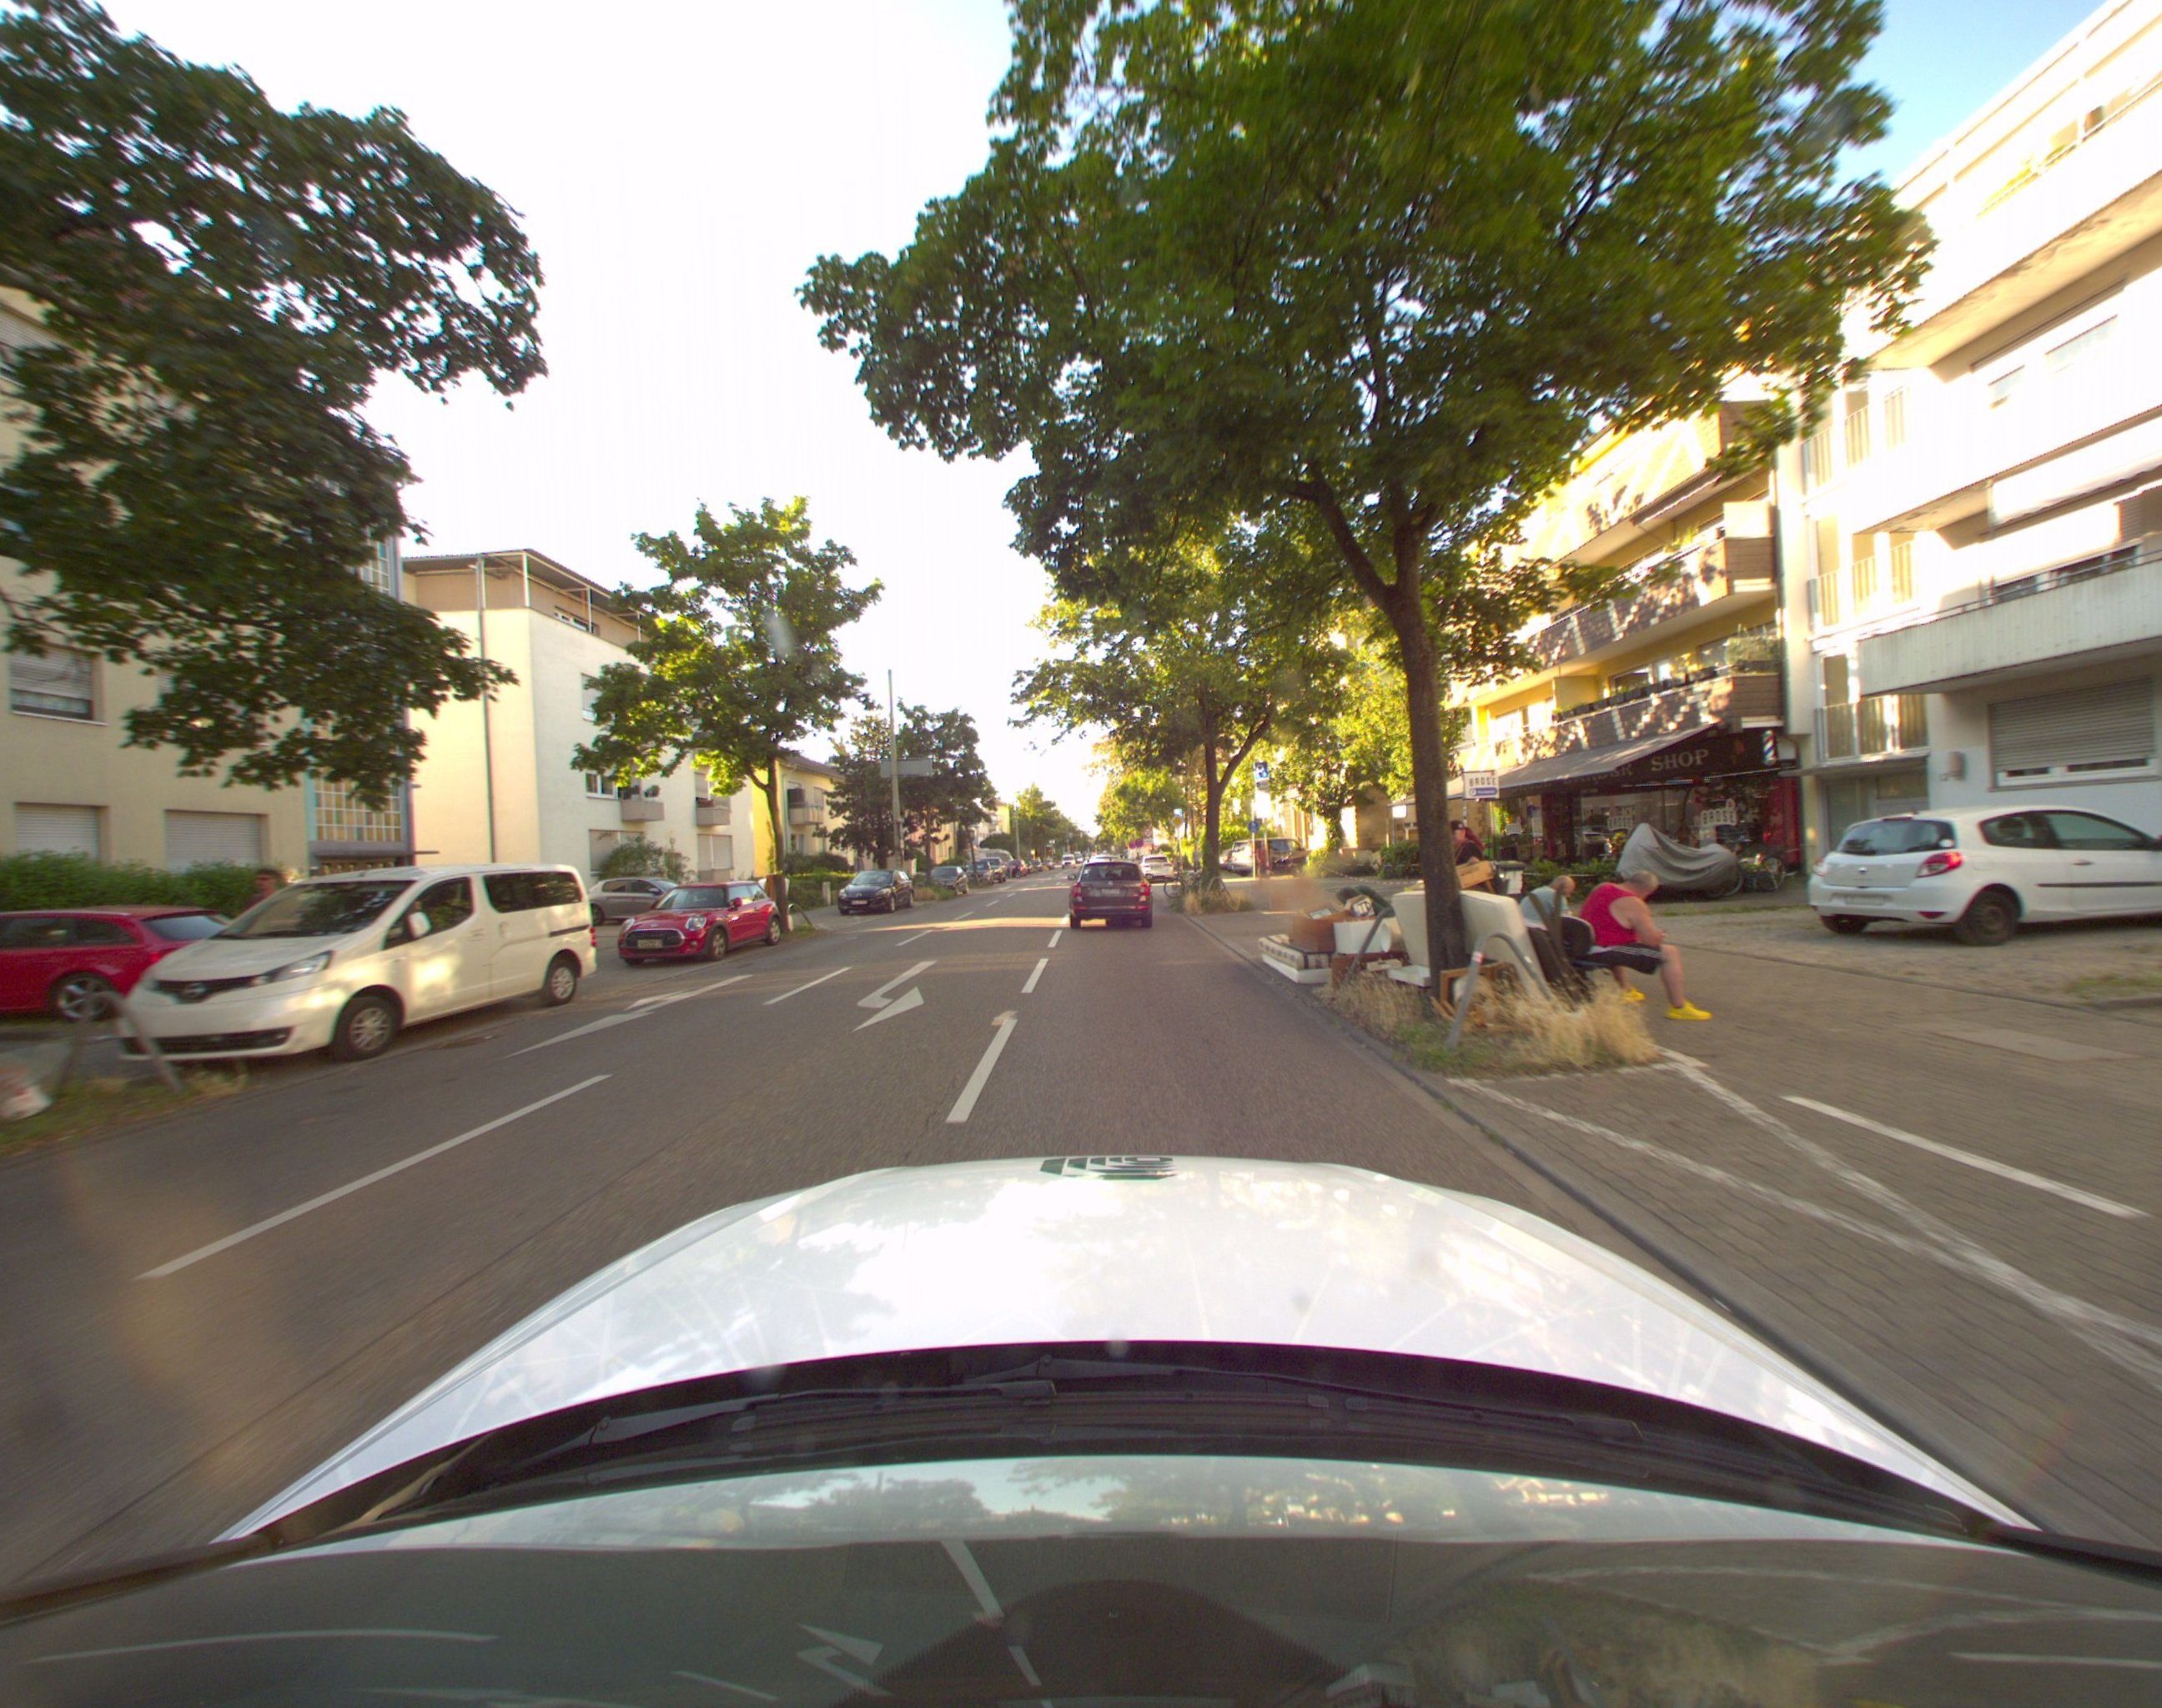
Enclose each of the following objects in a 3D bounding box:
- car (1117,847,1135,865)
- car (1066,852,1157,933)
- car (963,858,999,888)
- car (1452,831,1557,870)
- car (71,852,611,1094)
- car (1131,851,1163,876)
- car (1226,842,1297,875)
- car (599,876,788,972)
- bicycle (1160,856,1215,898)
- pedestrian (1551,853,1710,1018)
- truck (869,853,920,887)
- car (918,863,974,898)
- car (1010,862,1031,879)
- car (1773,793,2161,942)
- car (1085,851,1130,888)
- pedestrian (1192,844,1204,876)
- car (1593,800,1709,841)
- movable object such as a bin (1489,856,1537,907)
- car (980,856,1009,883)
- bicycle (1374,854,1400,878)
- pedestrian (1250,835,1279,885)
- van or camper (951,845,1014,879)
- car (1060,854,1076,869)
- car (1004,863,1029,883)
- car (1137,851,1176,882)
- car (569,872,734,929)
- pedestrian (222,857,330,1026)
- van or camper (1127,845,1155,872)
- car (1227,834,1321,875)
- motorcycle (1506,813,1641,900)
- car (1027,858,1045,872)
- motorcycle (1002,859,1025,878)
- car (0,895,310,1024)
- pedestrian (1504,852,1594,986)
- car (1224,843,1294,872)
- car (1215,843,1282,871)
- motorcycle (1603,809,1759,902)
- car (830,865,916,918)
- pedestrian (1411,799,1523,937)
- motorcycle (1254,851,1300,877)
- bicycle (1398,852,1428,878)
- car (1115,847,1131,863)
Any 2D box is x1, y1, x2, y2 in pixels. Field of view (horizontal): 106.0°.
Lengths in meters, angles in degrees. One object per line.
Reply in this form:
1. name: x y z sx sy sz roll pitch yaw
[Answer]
1. car: 4.972 0.232 89.775 1.724 1.815 3.950 -3 0 0
2. car: 0.674 0.748 18.008 1.723 1.493 3.953 -3 0 2
3. car: -6.410 1.165 52.467 1.744 1.740 3.592 -3 0 1
4. car: 19.831 -0.178 38.256 3.902 1.585 1.930 -3 0 2
5. car: -7.515 0.998 9.081 1.763 1.919 4.461 -3 0 1
6. car: 4.089 0.580 51.061 1.813 1.413 4.115 -3 0 3
7. car: 10.154 0.250 45.826 3.823 1.679 1.498 -3 0 -29
8. car: -7.347 1.257 15.899 1.710 1.421 3.788 -3 0 1
9. bicycle: 3.510 0.767 26.815 1.659 1.226 0.638 -5 0 14
10. pedestrian: 4.510 0.635 6.732 0.795 1.254 0.700 -3 0 -1
11. truck: -12.361 1.039 54.166 2.903 2.093 1.546 -3 0 0
12. car: -6.464 1.234 39.450 1.747 1.420 4.428 -3 0 2
13. car: -5.784 1.593 78.292 1.658 1.432 3.276 -3 0 1
14. car: 10.963 0.106 9.683 3.977 1.462 1.823 -3 0 -2
15. car: 1.162 0.658 37.293 1.725 1.493 3.947 -3 0 -2
16. pedestrian: 6.700 0.362 46.792 0.533 1.794 0.688 -3 0 3
17. car: 22.263 -1.294 31.913 3.333 1.418 1.661 -3 0 2
18. movable object such as a bin: 8.468 0.536 15.977 0.610 0.949 0.540 -3 0 2
19. car: -6.043 1.044 57.302 1.501 1.757 3.694 -3 0 1
20. bicycle: 12.058 0.466 32.106 0.341 0.950 1.579 0 0 -4
21. pedestrian: 6.827 0.234 30.279 0.754 1.796 0.905 -3 0 -4
22. van or camper: -12.579 1.017 103.932 7.617 3.874 1.999 -3 0 -1
23. car: -1.727 0.997 109.014 1.870 1.757 4.179 -3 0 1
24. car: -5.716 1.661 72.599 1.658 1.511 4.179 -3 0 1
25. car: 3.894 0.630 42.576 1.813 1.413 4.115 -3 0 3
26. car: -13.116 1.390 25.083 3.977 1.479 1.998 -2 0 -3
27. pedestrian: -10.038 1.067 10.174 0.624 2.013 0.616 -3 0 0
28. van or camper: 4.833 0.347 66.471 1.986 2.013 4.001 -3 0 1
29. car: 10.045 0.002 42.394 4.557 1.892 1.898 -3 0 -27
30. motorcycle: 9.947 0.049 16.508 2.182 1.621 0.733 -3 0 7
31. car: -5.193 1.277 94.292 1.658 1.432 3.276 -3 0 1
32. motorcycle: -5.599 1.173 67.645 0.771 1.512 2.006 -3 0 -41
33. car: -13.836 1.420 10.870 4.714 1.362 1.992 -3 0 -12
34. pedestrian: 4.642 0.631 8.118 0.647 1.254 0.661 -3 0 22
35. car: 10.571 0.207 48.437 3.814 1.525 1.501 -3 0 -21
36. car: 10.419 0.199 50.562 3.814 1.525 1.501 -3 0 -21
37. motorcycle: 11.368 0.027 15.502 2.182 1.621 0.892 -3 0 7
38. car: -7.051 1.220 28.040 1.710 1.497 4.249 -3 0 1
39. pedestrian: 4.383 0.141 9.249 1.065 1.476 0.476 -3 0 -18
40. motorcycle: 9.353 0.487 38.870 2.047 1.125 0.525 -3 0 -4
41. bicycle: 12.814 0.431 31.509 0.341 0.950 1.579 -5 0 -4
42. car: 5.242 0.133 102.269 1.724 1.815 3.950 -3 0 0
